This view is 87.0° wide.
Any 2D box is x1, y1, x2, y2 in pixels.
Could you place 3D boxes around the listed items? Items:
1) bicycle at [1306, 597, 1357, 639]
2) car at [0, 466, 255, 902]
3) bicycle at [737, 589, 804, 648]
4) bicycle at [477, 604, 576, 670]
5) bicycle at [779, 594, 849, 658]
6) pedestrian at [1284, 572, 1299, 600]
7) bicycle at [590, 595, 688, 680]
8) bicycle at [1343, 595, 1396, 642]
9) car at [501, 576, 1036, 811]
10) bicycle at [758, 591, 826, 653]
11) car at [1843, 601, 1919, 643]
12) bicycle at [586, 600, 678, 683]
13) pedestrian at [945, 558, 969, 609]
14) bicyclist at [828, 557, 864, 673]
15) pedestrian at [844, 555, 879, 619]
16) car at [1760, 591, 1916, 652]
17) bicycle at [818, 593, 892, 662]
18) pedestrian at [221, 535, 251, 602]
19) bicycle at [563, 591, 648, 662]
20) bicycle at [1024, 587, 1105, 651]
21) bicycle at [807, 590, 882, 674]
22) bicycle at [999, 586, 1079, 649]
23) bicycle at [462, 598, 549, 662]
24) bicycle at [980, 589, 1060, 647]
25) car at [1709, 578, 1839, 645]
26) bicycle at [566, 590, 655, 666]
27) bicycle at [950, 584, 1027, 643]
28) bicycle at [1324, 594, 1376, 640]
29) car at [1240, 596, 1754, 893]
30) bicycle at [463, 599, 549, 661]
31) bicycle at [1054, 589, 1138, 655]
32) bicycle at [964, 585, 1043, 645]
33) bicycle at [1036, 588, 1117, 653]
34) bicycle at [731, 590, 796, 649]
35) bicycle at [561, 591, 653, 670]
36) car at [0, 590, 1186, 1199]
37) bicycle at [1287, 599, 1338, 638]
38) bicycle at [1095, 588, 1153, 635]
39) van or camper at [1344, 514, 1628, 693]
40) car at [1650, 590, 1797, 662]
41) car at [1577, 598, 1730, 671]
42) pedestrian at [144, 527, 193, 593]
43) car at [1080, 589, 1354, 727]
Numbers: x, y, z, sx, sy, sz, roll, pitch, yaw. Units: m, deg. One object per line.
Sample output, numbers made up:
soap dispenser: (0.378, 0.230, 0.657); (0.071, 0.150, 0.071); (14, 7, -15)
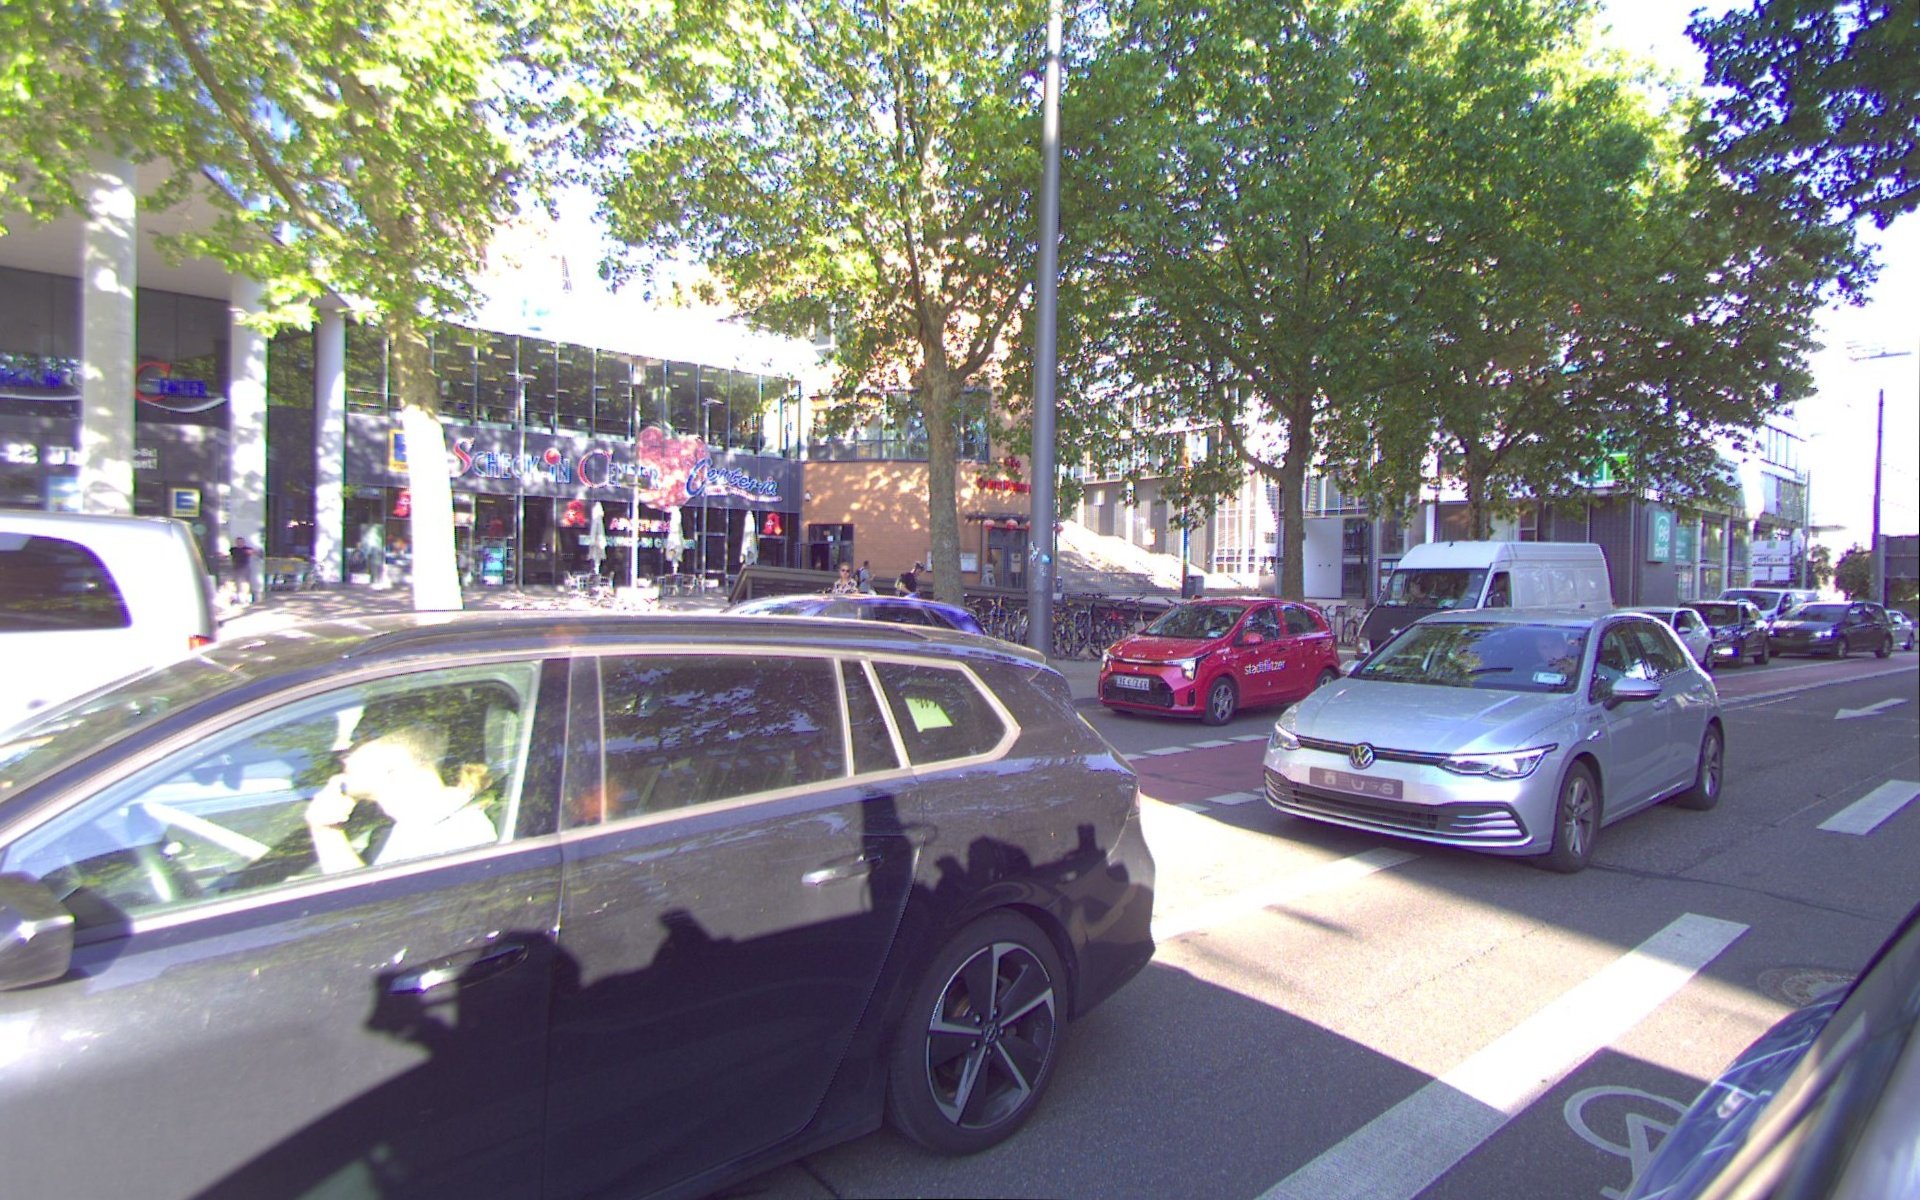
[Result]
bicycle: (10.305, 0.492, 28.043); (1.766, 1.108, 0.522); (0, 2, -41)
car: (-6.202, 0.360, 4.369); (5.008, 2.004, 1.940); (0, 2, -41)
bicycle: (-3.647, 0.344, 19.504); (1.202, 1.110, 0.444); (0, 1, -40)
bicycle: (-6.242, 0.519, 14.595); (1.231, 0.898, 0.462); (0, 1, -40)
bicycle: (-2.608, 0.448, 18.135); (1.202, 1.110, 0.400); (0, 1, -40)
pedestrian: (18.784, -0.789, 57.332); (0.707, 1.578, 0.638); (1, 1, 14)
bicycle: (-4.406, 0.496, 13.914); (1.202, 1.110, 0.413); (0, 1, -40)
bicycle: (11.028, 0.480, 27.231); (1.818, 1.209, 0.521); (0, 2, -41)
car: (-1.442, 0.590, 8.616); (4.177, 1.503, 1.742); (0, 2, -41)
bicycle: (-3.119, 0.398, 18.834); (1.202, 1.110, 0.427); (0, 1, -40)
car: (33.516, 0.753, 36.517); (3.927, 1.394, 1.802); (0, 2, -38)
bicycle: (-4.585, 0.566, 14.180); (1.202, 1.110, 0.269); (0, 1, -40)
pedestrian: (-0.138, -0.688, 42.056); (0.575, 2.062, 0.876); (1, 1, -35)
bicyclist: (-1.781, 0.229, 15.792); (0.392, 1.782, 0.390); (0, 1, -41)
pedestrian: (-2.815, -0.379, 28.925); (0.868, 1.805, 0.604); (1, 1, -18)
car: (25.280, 0.585, 29.124); (4.242, 1.640, 1.970); (0, 1, -28)
bicycle: (-1.774, 0.446, 17.115); (1.202, 1.110, 0.420); (0, 1, -40)
pedestrian: (-18.696, -0.807, 26.152); (0.506, 1.707, 0.604); (1, 1, -23)
bicycle: (-5.752, 0.411, 16.461); (0.414, 1.110, 1.269); (2, 1, 41)
bicycle: (2.106, 0.364, 20.258); (1.818, 1.209, 0.484); (0, 2, -41)
bicycle: (-1.798, 0.483, 15.795); (1.126, 1.271, 0.379); (0, 1, -41)
bicycle: (1.624, 0.341, 20.519); (1.818, 1.209, 0.447); (0, 1, -41)
bicycle: (-6.963, 0.454, 15.542); (1.198, 0.930, 0.442); (1, 1, -22)
bicycle: (1.251, 0.353, 20.967); (1.818, 1.139, 0.484); (0, 2, -41)
car: (26.436, 0.349, 32.820); (4.863, 2.020, 1.968); (0, 1, -35)
bicycle: (-5.364, 0.407, 15.587); (0.372, 1.110, 1.269); (2, 1, 41)
bicycle: (0.632, 0.273, 21.700); (1.818, 1.209, 0.434); (0, 1, -41)
bicycle: (10.661, 0.444, 27.630); (1.818, 1.209, 0.495); (0, 2, -41)
car: (3.811, 0.708, 6.908); (3.928, 1.458, 1.733); (0, 0, -39)
bicycle: (-7.125, 0.464, 15.920); (1.198, 0.938, 0.465); (1, 1, -22)
bicycle: (2.617, 0.400, 19.364); (1.818, 1.209, 0.481); (0, 2, -41)
bicycle: (0.931, 0.298, 21.347); (1.818, 1.209, 0.458); (0, 1, -41)
bicycle: (2.294, 0.390, 19.749); (1.818, 1.209, 0.448); (0, 1, -41)
bicycle: (-3.892, 0.373, 20.048); (1.202, 1.110, 0.429); (0, 1, -40)
bicycle: (-5.162, 0.425, 14.839); (1.202, 1.110, 0.396); (0, 1, -40)
car: (-1.435, 0.696, 2.460); (4.196, 1.432, 1.742); (0, 0, -41)
bicycle: (9.921, 0.508, 28.453); (1.818, 1.046, 0.515); (0, 2, -41)
bicycle: (4.395, 0.307, 27.055); (1.759, 1.209, 0.517); (0, 2, -41)
van or camper: (9.333, 0.039, 17.609); (6.456, 2.611, 1.998); (0, 0, -39)
car: (19.062, 0.595, 25.208); (4.148, 1.640, 1.819); (0, 1, -36)
car: (15.290, 0.686, 22.253); (3.927, 1.446, 1.683); (0, 1, -38)
pedestrian: (-21.311, -1.077, 27.247); (0.789, 1.728, 0.719); (1, 1, -11)
car: (3.335, 0.622, 12.816); (3.588, 1.476, 1.605); (0, 1, -41)
